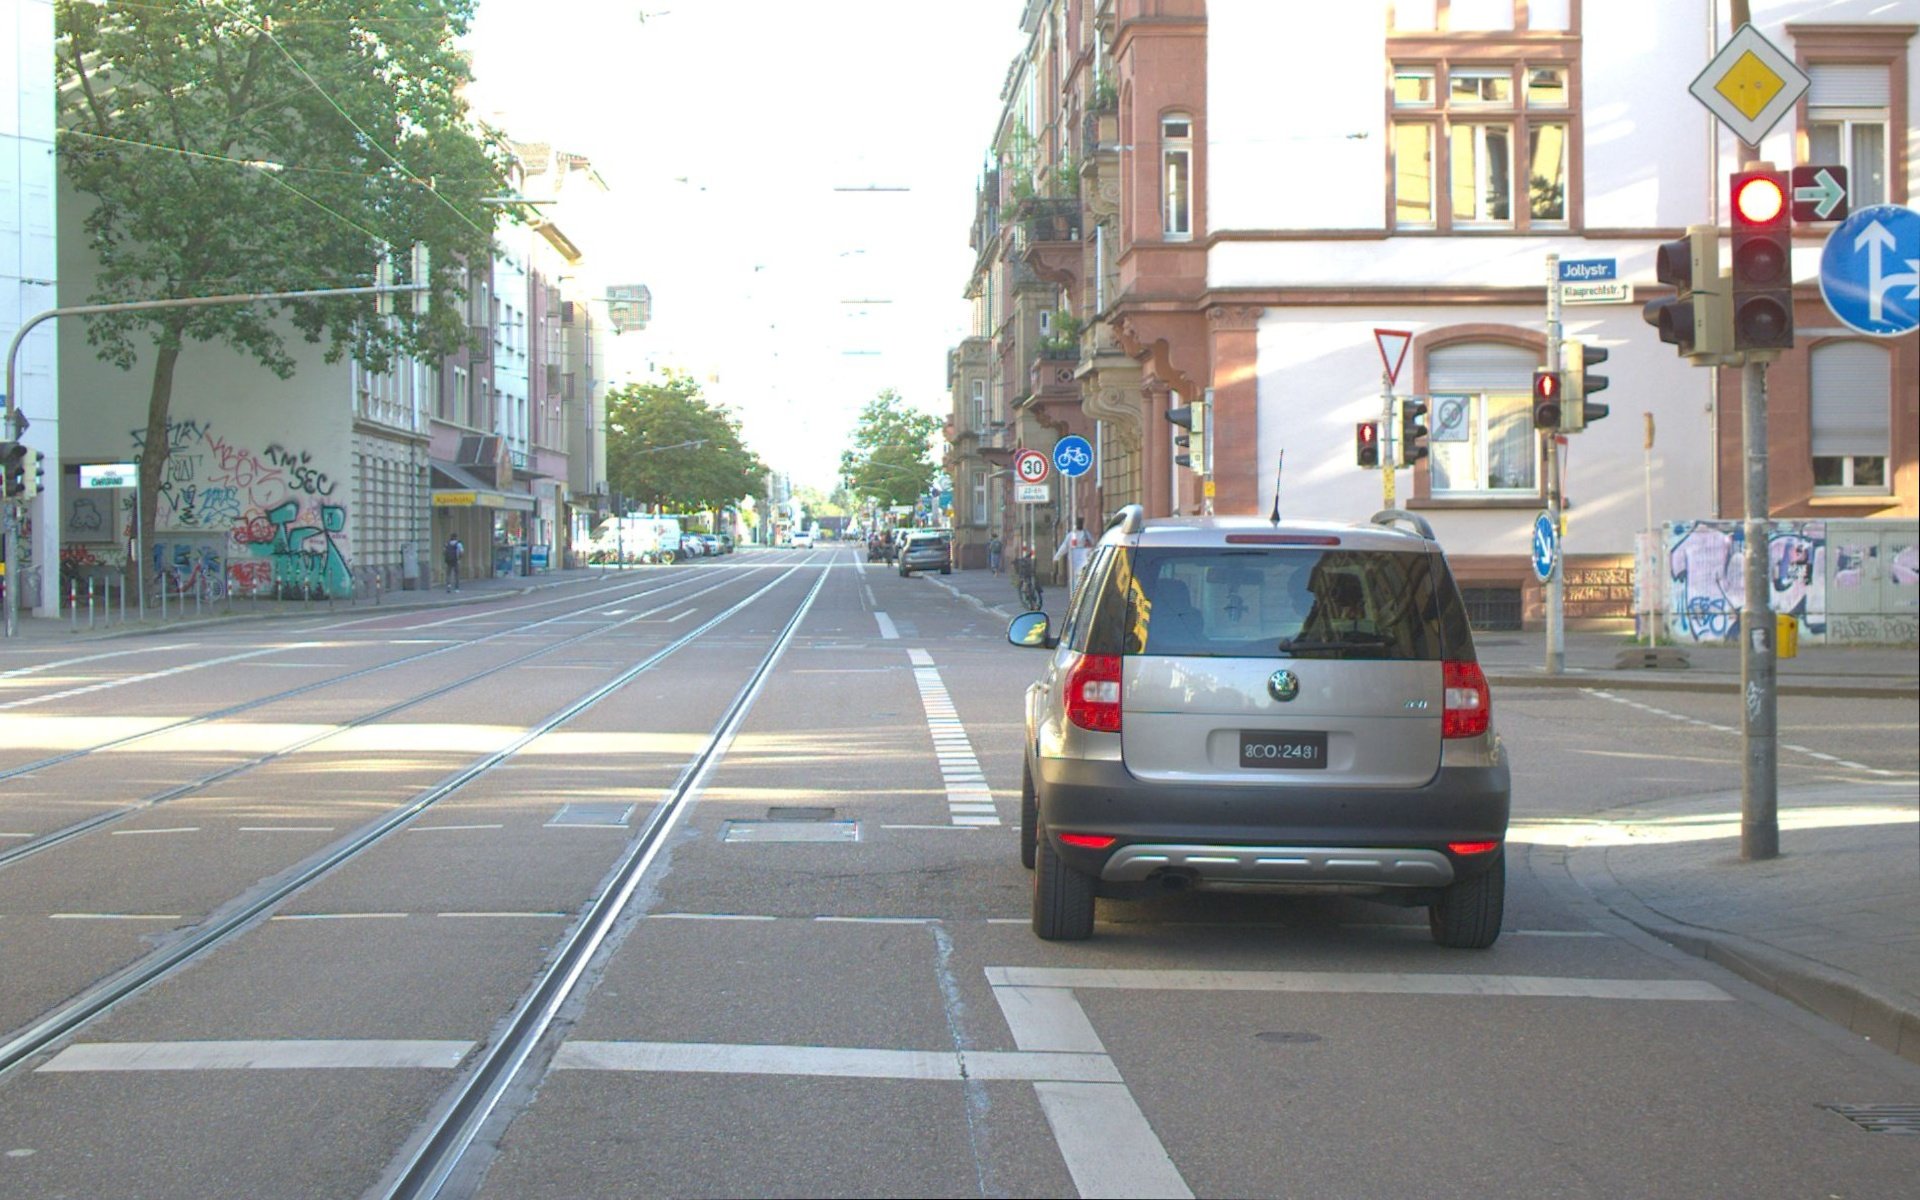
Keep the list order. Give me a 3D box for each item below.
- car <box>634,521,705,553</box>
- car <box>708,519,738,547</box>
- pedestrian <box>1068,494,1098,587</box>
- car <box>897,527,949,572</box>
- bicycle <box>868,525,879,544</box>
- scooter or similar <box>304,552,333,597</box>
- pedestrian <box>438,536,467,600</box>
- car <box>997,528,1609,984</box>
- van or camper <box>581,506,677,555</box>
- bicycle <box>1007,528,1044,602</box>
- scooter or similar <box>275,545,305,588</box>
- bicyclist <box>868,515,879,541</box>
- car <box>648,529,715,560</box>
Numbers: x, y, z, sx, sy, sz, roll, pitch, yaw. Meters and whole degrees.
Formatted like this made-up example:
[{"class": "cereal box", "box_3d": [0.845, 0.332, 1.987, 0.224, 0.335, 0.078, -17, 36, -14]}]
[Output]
[{"class": "car", "box_3d": [-18.366, -4.016, 217.428, 3.986, 2.007, 2.000, -1, 1, -26]}, {"class": "car", "box_3d": [-16.799, -4.761, 243.718, 1.993, 2.007, 4.001, 0, 1, -2]}, {"class": "pedestrian", "box_3d": [2.369, -1.142, 66.208, 0.544, 1.774, 0.504, 0, 1, -1]}, {"class": "car", "box_3d": [-1.416, -1.945, 132.133, 1.950, 1.678, 4.000, 0, 1, 0]}, {"class": "bicycle", "box_3d": [-4.720, -3.604, 188.011, 0.575, 1.026, 1.895, 0, 1, 0]}, {"class": "scooter or similar", "box_3d": [-15.472, -0.625, 82.961, 0.516, 1.053, 1.478, 0, 1, -4]}, {"class": "pedestrian", "box_3d": [-13.693, -0.859, 92.770, 0.701, 1.722, 0.648, 0, 1, -2]}, {"class": "car", "box_3d": [1.246, 0.518, 14.258, 1.993, 1.612, 4.001, 0, 1, -2]}, {"class": "van or camper", "box_3d": [-17.497, -3.650, 181.587, 4.635, 2.554, 2.000, 0, 1, -32]}, {"class": "bicycle", "box_3d": [1.195, -0.649, 62.756, 0.653, 1.319, 2.177, 0, 1, 1]}, {"class": "scooter or similar", "box_3d": [-16.146, -0.811, 82.907, 0.516, 1.042, 1.478, 0, 1, -4]}, {"class": "bicyclist", "box_3d": [-4.727, -3.940, 188.001, 0.575, 1.447, 0.645, 0, 1, 0]}, {"class": "car", "box_3d": [-18.723, -3.736, 231.015, 3.986, 2.007, 2.000, -1, 1, -26]}]
